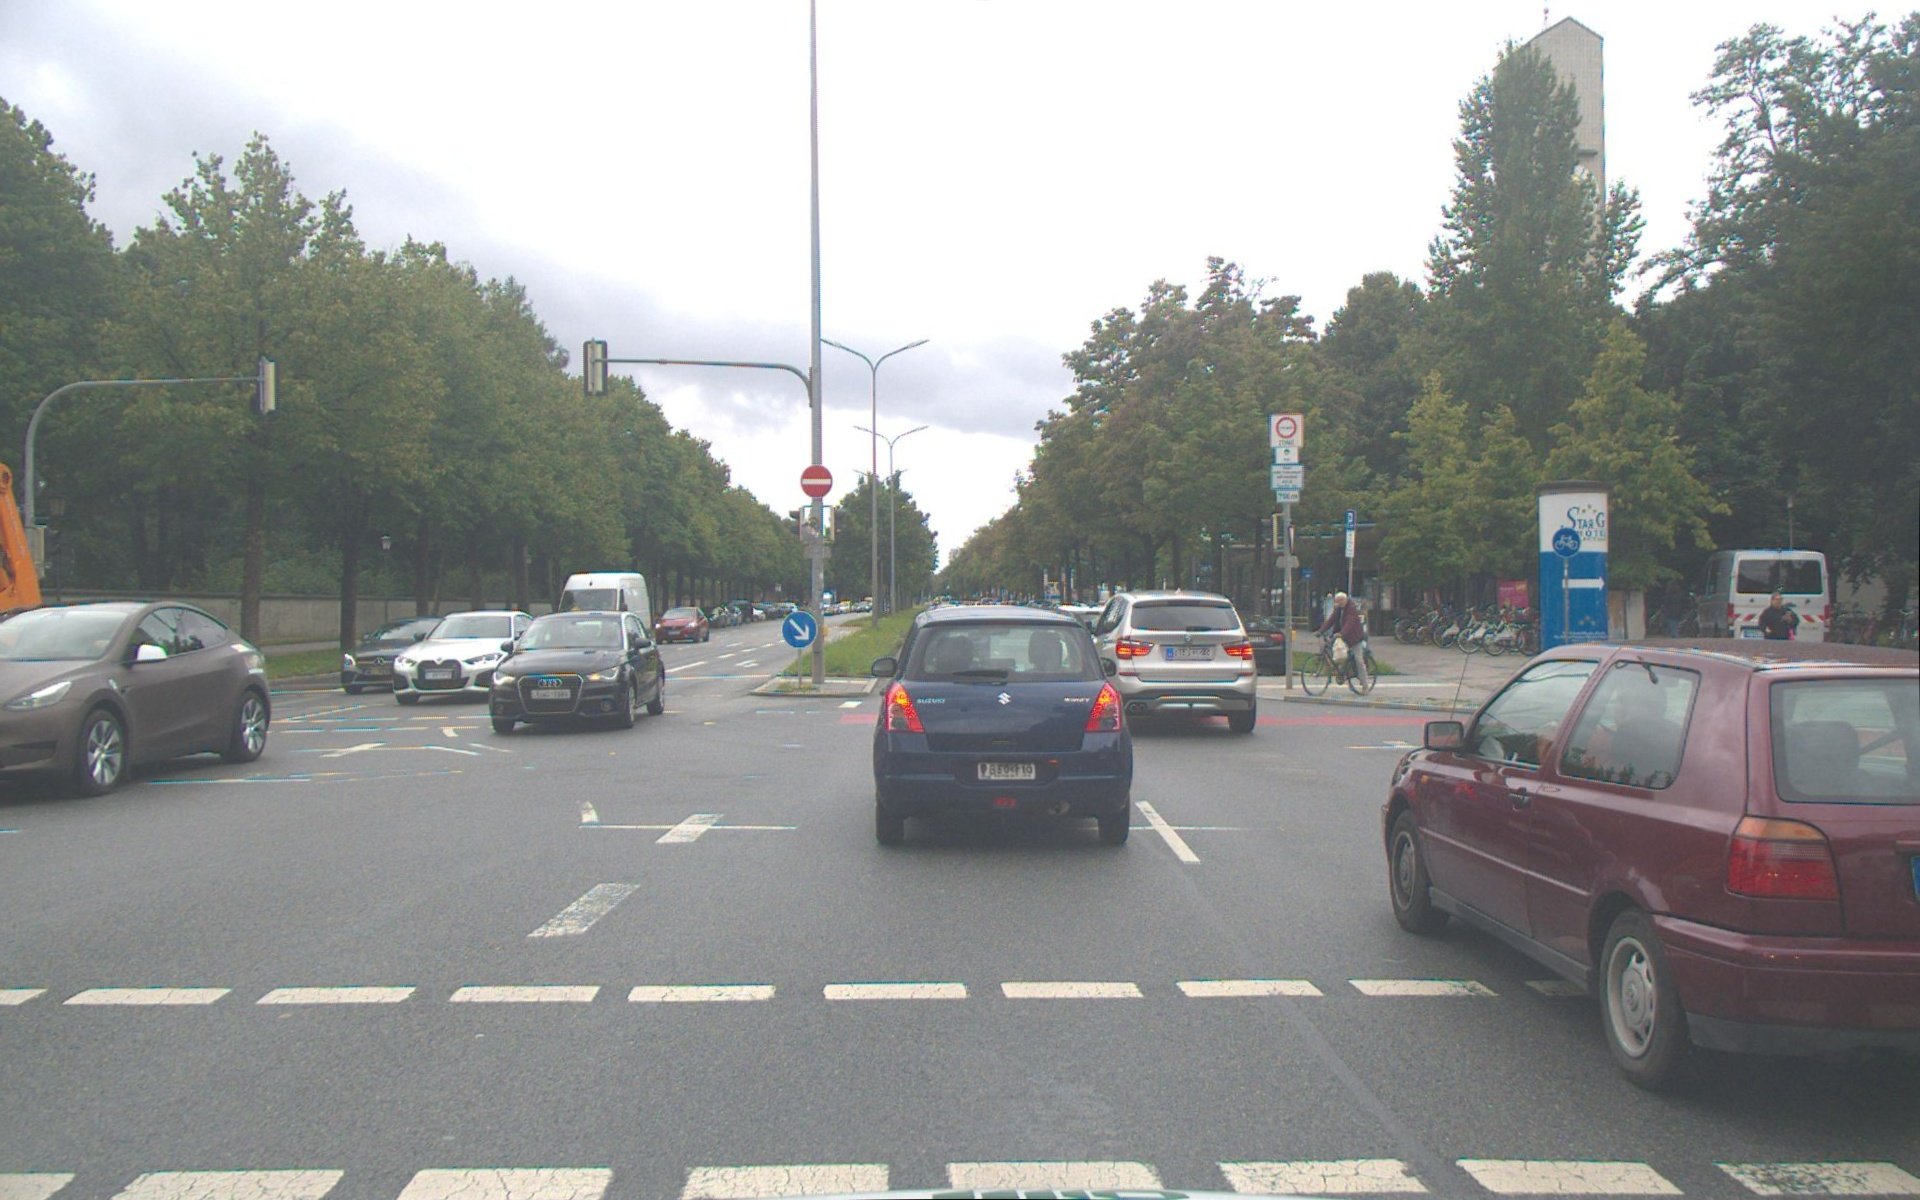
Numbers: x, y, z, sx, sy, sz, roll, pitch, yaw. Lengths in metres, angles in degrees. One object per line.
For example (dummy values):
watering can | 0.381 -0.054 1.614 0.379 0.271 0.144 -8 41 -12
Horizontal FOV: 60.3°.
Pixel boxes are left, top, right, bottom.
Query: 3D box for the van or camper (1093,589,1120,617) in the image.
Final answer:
van or camper | 14.024 0.271 159.001 1.983 2.602 5.955 -1 0 -1

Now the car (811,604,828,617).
car | -17.507 1.348 206.457 1.875 1.569 4.185 -1 0 -2

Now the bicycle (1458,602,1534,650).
bicycle | 14.008 0.678 43.276 1.768 1.162 0.567 -2 0 4

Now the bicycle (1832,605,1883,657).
bicycle | 21.168 0.708 38.986 0.705 1.174 2.119 -1 0 39

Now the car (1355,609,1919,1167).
car | 2.865 0.789 6.481 1.589 1.479 3.948 -1 0 -2

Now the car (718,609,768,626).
car | -18.894 1.530 143.964 3.955 1.378 1.827 -1 0 -36

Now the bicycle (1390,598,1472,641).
bicycle | 14.213 0.574 49.942 2.291 1.177 0.529 -3 0 -2

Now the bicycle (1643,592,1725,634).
bicycle | 22.677 0.410 51.833 2.291 1.177 0.529 -3 0 -2

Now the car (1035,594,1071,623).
car | 5.529 0.507 98.334 1.750 1.704 4.594 -1 0 -2

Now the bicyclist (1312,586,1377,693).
bicyclist | 6.596 0.669 28.367 0.819 1.795 0.737 0 -1 -36

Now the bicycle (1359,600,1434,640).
bicycle | 14.345 0.661 54.377 2.291 1.177 0.529 -3 0 -2

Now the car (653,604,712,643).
car | -11.483 0.950 68.744 1.708 1.477 4.656 -3 0 -1

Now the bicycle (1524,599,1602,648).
bicycle | 15.524 0.604 42.582 1.769 1.162 0.567 -2 0 -1

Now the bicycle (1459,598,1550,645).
bicycle | 15.130 0.600 45.950 2.291 1.177 0.585 -3 0 -2

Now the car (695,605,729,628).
car | -17.213 1.158 114.978 1.538 1.529 4.305 1 0 3

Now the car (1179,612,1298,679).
car | 6.143 0.963 36.993 1.676 1.384 4.618 0 0 -3

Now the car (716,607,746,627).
car | -17.578 1.265 127.061 1.602 1.464 4.808 1 0 0

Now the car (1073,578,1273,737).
car | 2.551 0.652 20.768 1.813 1.773 4.095 -1 0 -3

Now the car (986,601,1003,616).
car | 3.626 0.878 174.815 1.650 1.552 4.455 1 0 0

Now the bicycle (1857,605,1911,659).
bicycle | 20.837 0.704 37.278 0.705 1.174 2.119 -1 0 39

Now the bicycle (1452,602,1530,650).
bicycle | 13.553 0.657 42.235 1.768 1.162 0.568 -2 0 8

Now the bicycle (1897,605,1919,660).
bicycle | 21.425 0.711 36.747 0.705 1.174 2.119 -1 0 39

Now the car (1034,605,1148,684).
car | 2.595 0.855 33.658 1.813 1.472 4.095 -1 0 -3

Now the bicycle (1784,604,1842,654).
bicycle | 20.877 0.704 40.450 0.706 1.174 2.115 -1 0 43

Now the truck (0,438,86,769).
truck | -11.331 0.030 15.105 2.723 3.415 7.267 0 0 1

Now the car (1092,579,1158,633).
car | 5.545 0.185 56.138 1.712 1.754 4.905 0 0 -1

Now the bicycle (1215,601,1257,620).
bicycle | 16.957 0.635 101.723 2.490 1.108 0.647 -1 0 -1

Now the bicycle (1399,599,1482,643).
bicycle | 14.341 0.613 49.395 2.291 1.177 0.529 -3 0 -2

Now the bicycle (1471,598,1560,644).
bicycle | 15.647 0.587 46.613 2.291 1.177 0.585 -3 0 -2

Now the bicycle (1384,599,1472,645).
bicycle | 13.284 0.623 46.942 2.291 1.177 0.585 -3 0 -2

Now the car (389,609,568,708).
car | -8.161 0.940 28.463 1.692 1.513 4.742 -1 0 0

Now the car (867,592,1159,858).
car | 0.236 0.754 11.982 1.753 1.583 3.998 -1 0 -3

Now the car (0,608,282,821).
car | -7.886 0.873 14.662 1.824 1.569 4.748 -1 0 -1

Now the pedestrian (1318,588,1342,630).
pedestrian | 13.833 0.343 61.841 0.569 1.539 0.690 0 0 -19

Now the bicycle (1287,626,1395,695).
bicycle | 6.535 1.020 28.320 1.926 1.100 0.738 0 0 -37

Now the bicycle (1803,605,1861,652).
bicycle | 22.493 0.721 42.659 2.113 1.174 0.707 -1 0 -45

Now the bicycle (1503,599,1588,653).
bicycle | 14.231 0.634 40.216 1.905 1.233 0.565 -2 0 -13

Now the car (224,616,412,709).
car | -11.400 1.070 29.691 1.688 1.441 4.215 -2 0 0

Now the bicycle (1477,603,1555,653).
bicycle | 13.707 0.682 40.781 1.775 1.162 0.565 -2 0 -13

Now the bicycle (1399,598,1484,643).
bicycle | 14.210 0.604 48.841 2.291 1.177 0.529 -3 0 -2

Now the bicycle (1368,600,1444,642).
bicycle | 14.137 0.658 52.436 2.296 1.177 0.528 -3 0 -10

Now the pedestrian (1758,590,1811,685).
pedestrian | 13.835 0.627 27.778 0.676 1.565 0.738 -1 0 18

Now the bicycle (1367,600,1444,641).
bicycle | 14.355 0.661 53.355 2.291 1.177 0.529 -3 0 -2

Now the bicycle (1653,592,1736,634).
bicycle | 22.740 0.410 51.199 2.291 1.177 0.529 -3 0 -2

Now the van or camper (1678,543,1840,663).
van or camper | 16.926 0.066 35.375 2.096 2.336 6.203 -1 0 16

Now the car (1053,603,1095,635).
car | 5.525 0.907 80.470 1.683 1.535 4.222 -1 0 -1

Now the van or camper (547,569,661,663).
van or camper | -11.191 0.458 52.536 2.134 2.693 6.949 -2 0 -1

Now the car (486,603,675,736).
car | -4.686 0.802 20.890 1.606 1.513 3.780 -1 0 -2
